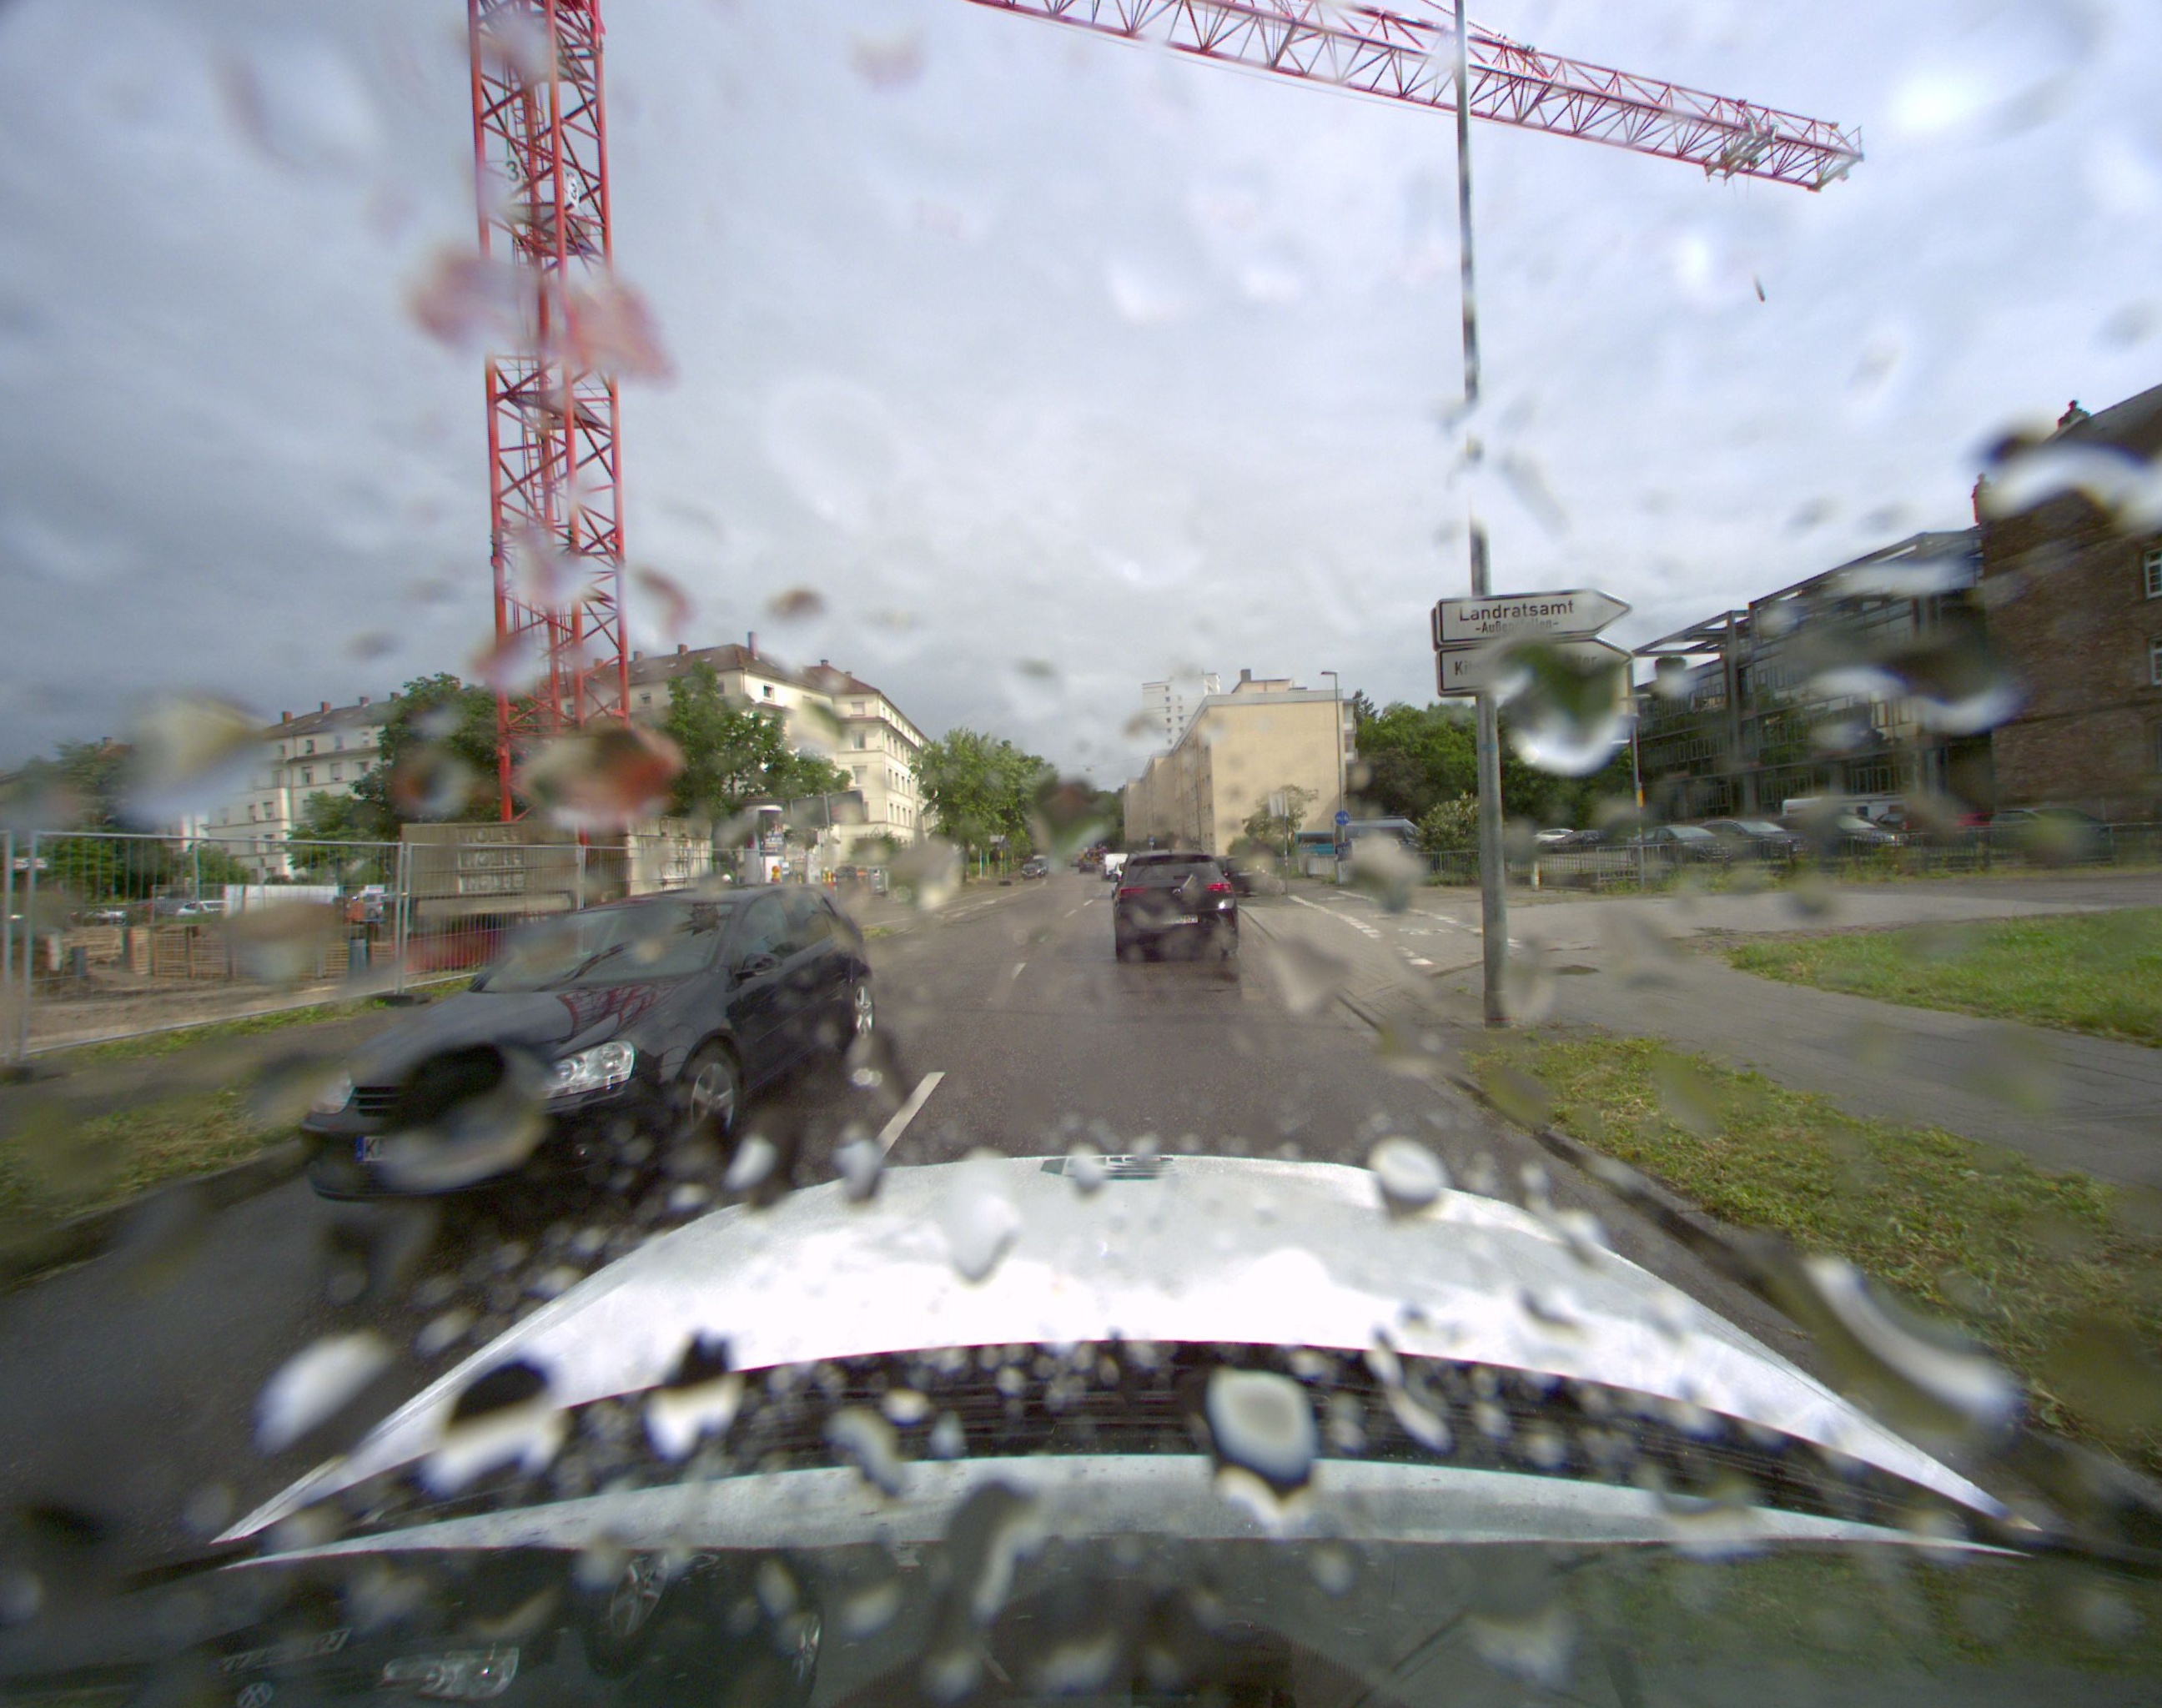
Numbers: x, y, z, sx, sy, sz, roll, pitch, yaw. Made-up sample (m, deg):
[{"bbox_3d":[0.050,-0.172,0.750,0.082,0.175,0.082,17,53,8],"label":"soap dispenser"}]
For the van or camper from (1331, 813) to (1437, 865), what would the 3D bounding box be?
[{"bbox_3d":[16.628,-0.792,44.882,4.978,2.554,2.176,-2,-1,2],"label":"van or camper"}]

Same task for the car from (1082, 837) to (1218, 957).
[{"bbox_3d":[1.019,0.633,13.341,1.866,1.645,4.063,-1,-1,1],"label":"car"}]

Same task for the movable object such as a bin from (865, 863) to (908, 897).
[{"bbox_3d":[-10.611,1.398,44.446,1.525,1.674,1.674,-3,0,20],"label":"movable object such as a bin"}]

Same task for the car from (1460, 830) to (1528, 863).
[{"bbox_3d":[20.577,-0.339,40.726,1.641,1.486,3.723,-3,0,4],"label":"car"}]

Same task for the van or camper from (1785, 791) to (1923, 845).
[{"bbox_3d":[38.958,-1.790,41.169,4.769,2.486,2.258,-1,-1,1],"label":"van or camper"}]

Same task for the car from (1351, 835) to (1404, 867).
[{"bbox_3d":[14.978,-0.133,41.274,1.603,1.449,3.421,-3,0,4],"label":"car"}]

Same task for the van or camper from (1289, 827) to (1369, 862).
[{"bbox_3d":[16.719,-0.626,55.172,4.737,2.131,2.325,-3,0,5],"label":"van or camper"}]

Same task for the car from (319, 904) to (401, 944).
[{"bbox_3d":[-41.441,4.038,46.803,3.952,1.865,1.813,-6,-1,21],"label":"car"}]

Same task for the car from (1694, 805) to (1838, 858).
[{"bbox_3d":[24.672,-0.763,29.578,1.843,1.679,4.432,-3,0,7],"label":"car"}]

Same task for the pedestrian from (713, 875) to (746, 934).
[{"bbox_3d":[-9.915,1.405,22.971,0.727,1.630,0.676,0,-2,-36],"label":"pedestrian"}]

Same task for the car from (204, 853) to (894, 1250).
[{"bbox_3d":[-2.793,0.874,5.549,1.833,1.608,4.003,-4,-1,3],"label":"car"}]

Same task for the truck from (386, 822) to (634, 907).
[{"bbox_3d":[-26.237,0.493,37.540,9.739,3.184,3.808,-3,-1,15],"label":"truck"}]

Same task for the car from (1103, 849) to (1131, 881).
[{"bbox_3d":[2.482,0.781,57.144,1.830,2.103,4.000,-1,-1,1],"label":"car"}]

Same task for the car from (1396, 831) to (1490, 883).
[{"bbox_3d":[13.533,0.111,30.711,1.796,1.750,4.242,-3,0,4],"label":"car"}]

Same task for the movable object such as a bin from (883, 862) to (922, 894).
[{"bbox_3d":[-10.060,1.339,45.954,1.525,1.662,1.466,-3,0,20],"label":"movable object such as a bin"}]

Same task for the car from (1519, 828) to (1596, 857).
[{"bbox_3d":[28.889,-0.686,49.415,3.649,1.486,1.641,-3,-1,4],"label":"car"}]

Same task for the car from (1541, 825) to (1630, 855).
[{"bbox_3d":[29.055,-0.817,46.982,3.957,1.465,1.674,-3,-1,3],"label":"car"}]

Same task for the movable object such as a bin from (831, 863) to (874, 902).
[{"bbox_3d":[-11.595,1.441,41.360,1.525,1.824,1.270,-3,0,20],"label":"movable object such as a bin"}]

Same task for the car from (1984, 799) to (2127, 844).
[{"bbox_3d":[39.886,-1.305,33.398,3.651,1.524,1.674,-3,-1,3],"label":"car"}]

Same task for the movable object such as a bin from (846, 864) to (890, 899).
[{"bbox_3d":[-11.194,1.436,42.894,1.525,1.656,1.536,-3,0,20],"label":"movable object such as a bin"}]

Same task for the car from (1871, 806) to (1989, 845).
[{"bbox_3d":[40.002,-1.319,38.437,3.651,1.576,1.674,-3,-1,3],"label":"car"}]

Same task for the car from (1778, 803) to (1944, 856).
[{"bbox_3d":[27.920,-0.816,29.393,1.845,1.679,4.428,-3,0,4],"label":"car"}]

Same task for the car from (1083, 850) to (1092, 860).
[{"bbox_3d":[1.326,0.242,172.171,1.661,1.838,3.999,-3,0,0],"label":"car"}]

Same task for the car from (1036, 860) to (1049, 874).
[{"bbox_3d":[-5.029,1.690,106.058,1.582,1.639,3.916,-4,0,-3],"label":"car"}]

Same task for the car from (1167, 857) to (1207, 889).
[{"bbox_3d":[5.367,0.974,41.663,1.749,1.528,4.003,-2,-2,3],"label":"car"}]

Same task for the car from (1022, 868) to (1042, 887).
[{"bbox_3d":[-4.202,1.999,70.012,1.582,1.505,4.060,-4,0,-3],"label":"car"}]

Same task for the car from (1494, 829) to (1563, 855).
[{"bbox_3d":[30.043,-0.773,54.724,3.649,1.486,1.641,-3,-1,4],"label":"car"}]

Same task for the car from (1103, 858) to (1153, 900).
[{"bbox_3d":[1.788,0.957,31.809,1.806,1.503,4.001,-1,-1,2],"label":"car"}]

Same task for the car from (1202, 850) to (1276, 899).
[{"bbox_3d":[5.686,0.707,29.874,1.768,1.539,4.377,-5,0,0],"label":"car"}]

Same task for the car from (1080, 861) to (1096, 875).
[{"bbox_3d":[0.820,1.576,94.062,1.600,1.510,3.545,-4,0,-2],"label":"car"}]

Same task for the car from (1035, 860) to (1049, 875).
[{"bbox_3d":[-4.780,1.660,100.158,1.582,1.639,3.916,-4,0,-3],"label":"car"}]

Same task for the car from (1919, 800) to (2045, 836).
[{"bbox_3d":[39.796,-1.577,36.037,3.651,1.486,1.674,0,0,3],"label":"car"}]

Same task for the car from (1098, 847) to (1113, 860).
[{"bbox_3d":[3.247,-0.056,109.150,1.833,1.608,3.678,-4,-1,3],"label":"car"}]

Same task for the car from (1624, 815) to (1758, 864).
[{"bbox_3d":[21.848,-0.471,29.434,1.819,1.527,4.431,-3,0,6],"label":"car"}]
